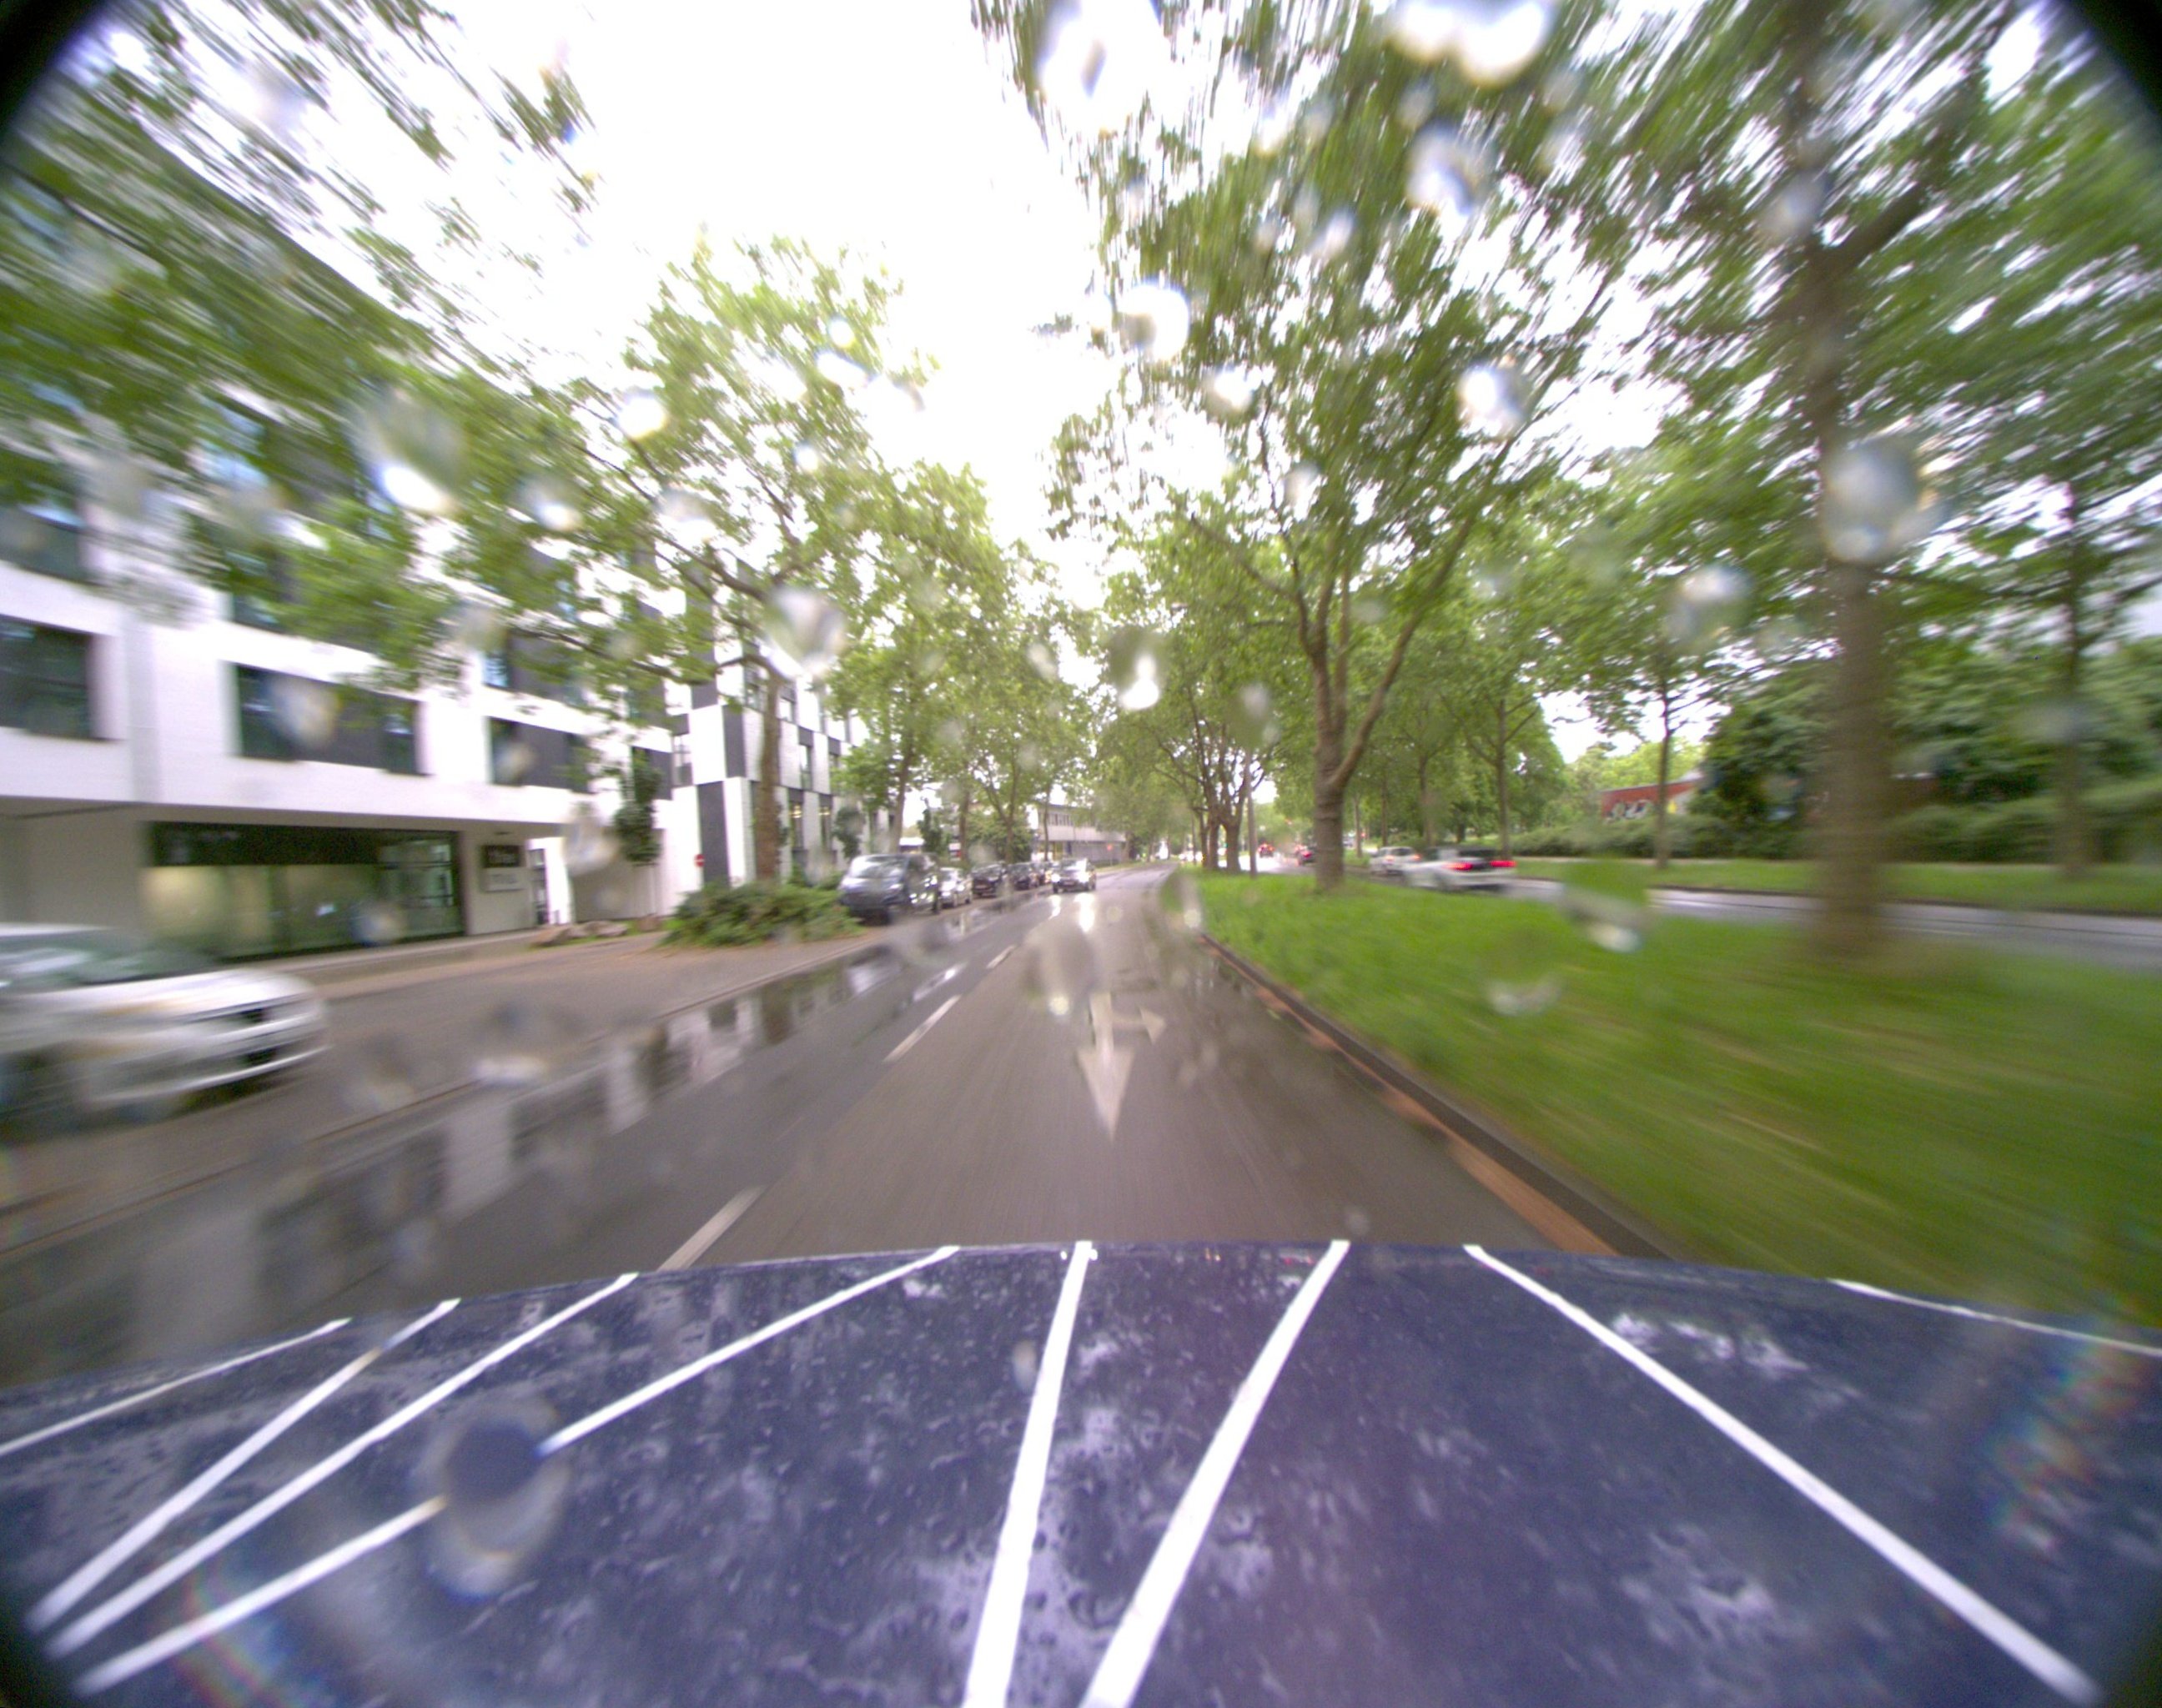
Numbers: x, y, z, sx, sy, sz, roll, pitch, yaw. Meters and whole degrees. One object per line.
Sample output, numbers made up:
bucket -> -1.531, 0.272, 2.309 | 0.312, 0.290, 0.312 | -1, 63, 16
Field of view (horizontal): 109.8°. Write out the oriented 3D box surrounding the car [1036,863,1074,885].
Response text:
car -> -1.828, 1.391, 55.095 | 1.746, 1.420, 4.863 | 0, 0, 11

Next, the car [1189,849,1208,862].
car -> 16.002, 0.155, 103.652 | 1.996, 1.620, 4.526 | -3, 0, 15

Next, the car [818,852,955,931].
car -> -5.597, 0.986, 22.795 | 2.126, 2.016, 5.529 | -3, 0, 5

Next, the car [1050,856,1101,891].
car -> -0.195, 0.954, 39.623 | 1.998, 1.585, 5.592 | -3, 0, 6

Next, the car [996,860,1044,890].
car -> -3.340, 1.126, 42.464 | 1.746, 1.467, 4.085 | -3, 0, 9

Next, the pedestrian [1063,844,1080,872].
pedestrian -> -0.703, 0.299, 56.207 | 0.901, 2.002, 0.831 | -3, 0, -28

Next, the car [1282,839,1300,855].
car -> 30.415, -1.042, 110.264 | 2.033, 2.213, 5.438 | -3, 0, 10

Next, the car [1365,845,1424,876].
car -> 16.381, 0.319, 39.852 | 1.747, 1.451, 3.843 | -3, 0, 5

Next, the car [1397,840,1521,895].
car -> 11.470, 0.376, 23.443 | 1.747, 1.467, 4.411 | -3, 0, 3

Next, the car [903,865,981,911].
car -> -5.173, 1.238, 28.880 | 1.747, 1.460, 4.307 | -3, 0, 5

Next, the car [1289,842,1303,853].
car -> 34.323, -1.033, 121.353 | 1.996, 1.622, 4.336 | -3, 0, 18

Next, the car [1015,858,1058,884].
car -> -2.771, 1.045, 48.596 | 1.747, 1.420, 5.106 | -3, 0, 7

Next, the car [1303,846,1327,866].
car -> 19.765, 0.169, 64.267 | 1.746, 1.552, 4.373 | -3, 0, 16

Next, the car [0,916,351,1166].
car -> -8.191, 1.344, 5.584 | 3.648, 1.495, 1.747 | -2, -1, -14

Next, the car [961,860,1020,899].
car -> -4.157, 1.144, 35.528 | 1.747, 1.557, 4.373 | -3, 0, 5

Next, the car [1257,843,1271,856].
car -> 27.612, -0.697, 114.584 | 2.033, 1.726, 4.959 | -3, 0, 14
